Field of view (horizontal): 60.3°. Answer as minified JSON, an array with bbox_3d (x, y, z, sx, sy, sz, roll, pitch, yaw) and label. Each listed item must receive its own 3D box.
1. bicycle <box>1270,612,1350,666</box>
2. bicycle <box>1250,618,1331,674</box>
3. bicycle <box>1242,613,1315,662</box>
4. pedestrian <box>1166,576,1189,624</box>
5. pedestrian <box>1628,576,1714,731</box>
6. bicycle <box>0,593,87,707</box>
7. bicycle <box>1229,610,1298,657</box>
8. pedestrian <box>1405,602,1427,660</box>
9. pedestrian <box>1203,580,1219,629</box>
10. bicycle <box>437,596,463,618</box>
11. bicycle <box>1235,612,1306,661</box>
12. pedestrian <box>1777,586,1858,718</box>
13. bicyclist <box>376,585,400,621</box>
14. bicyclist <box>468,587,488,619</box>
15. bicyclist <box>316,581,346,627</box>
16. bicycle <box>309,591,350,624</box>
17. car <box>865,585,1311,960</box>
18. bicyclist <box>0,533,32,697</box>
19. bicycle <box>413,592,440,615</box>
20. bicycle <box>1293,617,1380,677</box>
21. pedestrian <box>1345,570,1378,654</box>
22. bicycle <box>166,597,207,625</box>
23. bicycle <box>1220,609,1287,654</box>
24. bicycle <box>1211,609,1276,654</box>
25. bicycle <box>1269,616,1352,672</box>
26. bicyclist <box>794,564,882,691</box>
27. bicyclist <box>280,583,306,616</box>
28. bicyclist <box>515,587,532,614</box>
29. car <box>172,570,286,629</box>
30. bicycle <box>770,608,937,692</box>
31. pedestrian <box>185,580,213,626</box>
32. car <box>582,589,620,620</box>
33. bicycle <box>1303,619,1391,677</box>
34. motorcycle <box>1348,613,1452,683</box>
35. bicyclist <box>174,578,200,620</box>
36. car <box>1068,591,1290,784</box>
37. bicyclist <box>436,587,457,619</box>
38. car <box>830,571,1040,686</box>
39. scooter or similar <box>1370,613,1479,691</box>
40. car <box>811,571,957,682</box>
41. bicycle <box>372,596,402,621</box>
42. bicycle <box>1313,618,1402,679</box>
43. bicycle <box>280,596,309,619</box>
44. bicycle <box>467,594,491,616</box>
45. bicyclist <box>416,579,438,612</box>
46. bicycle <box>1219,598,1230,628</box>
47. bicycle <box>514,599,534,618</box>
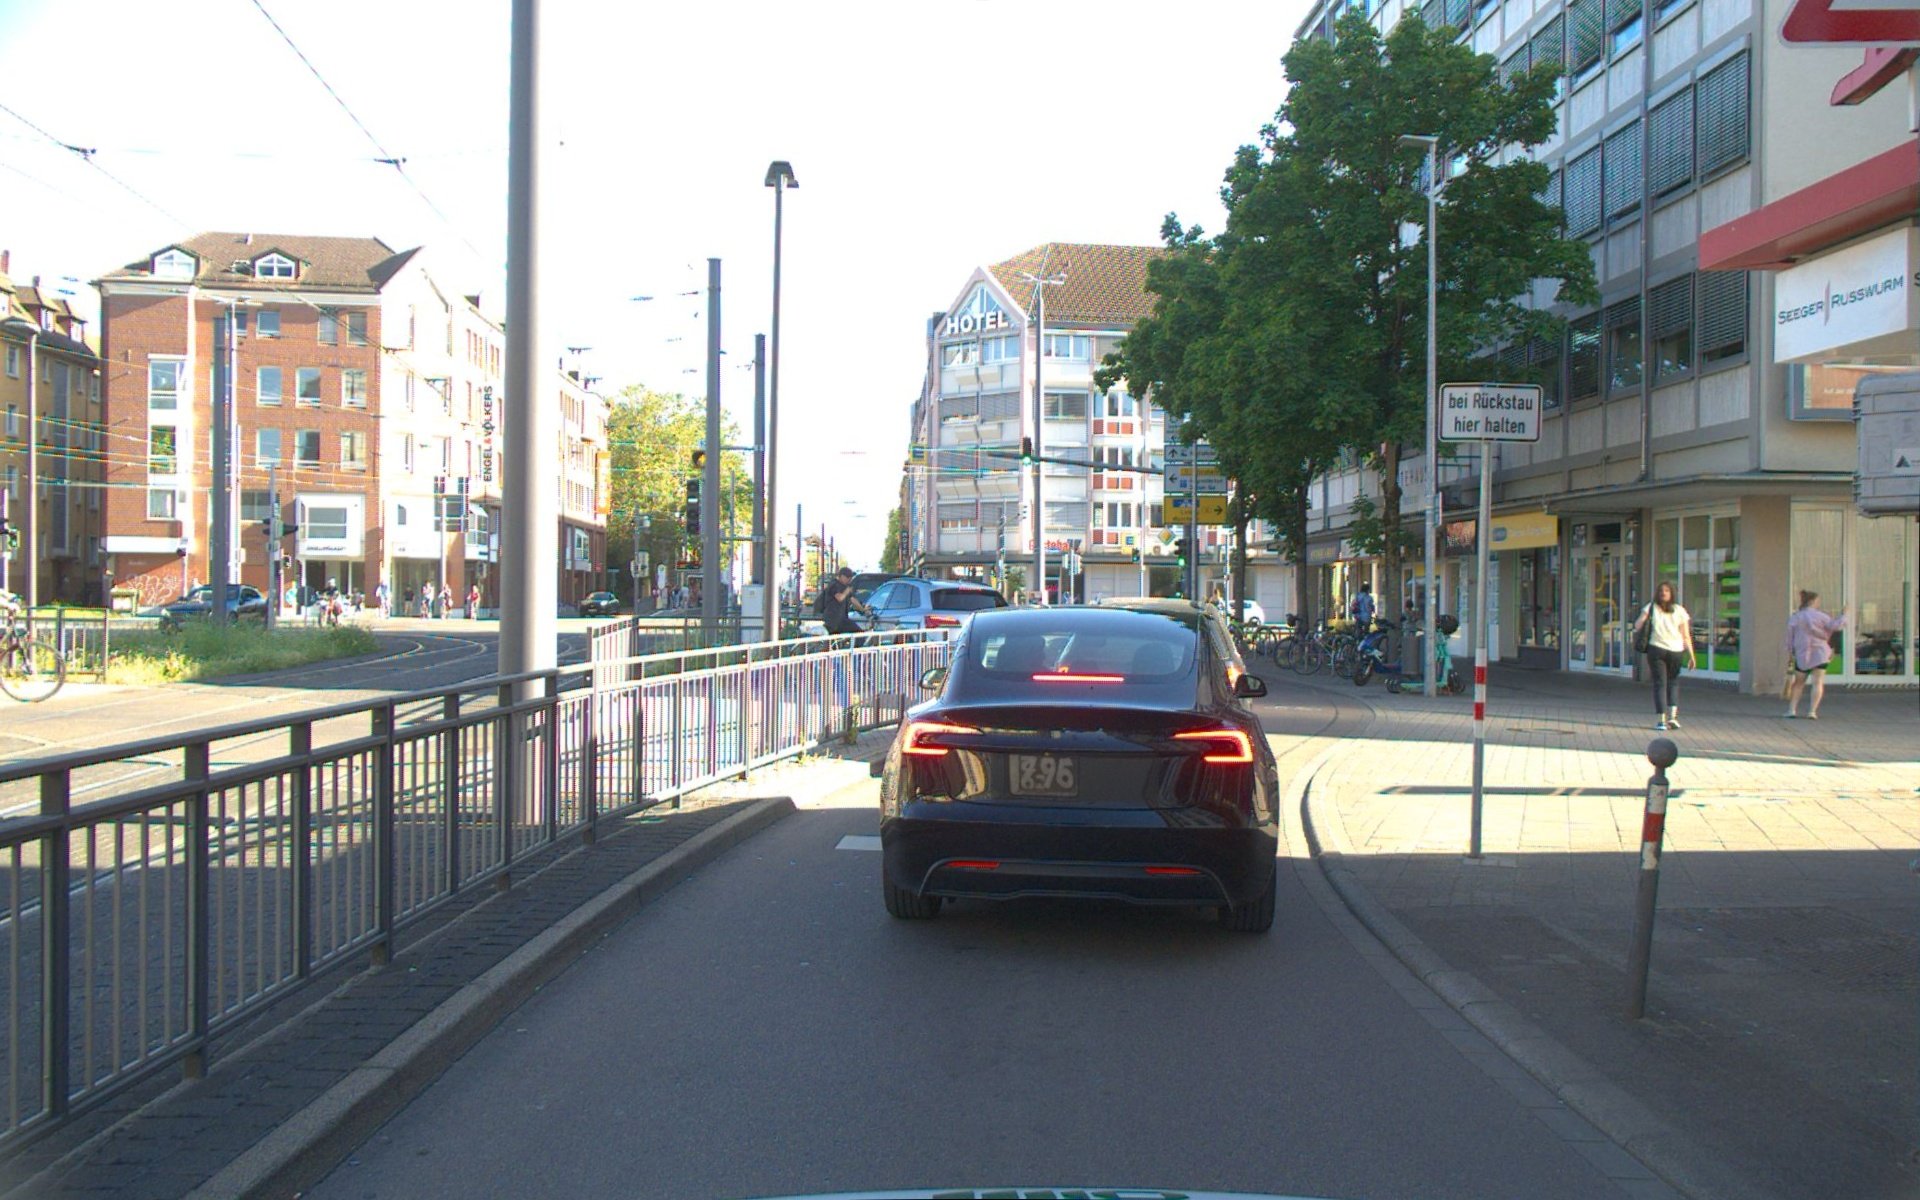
[{"bbox_3d":[7.497,0.835,35.439,1.616,1.118,0.350,1,-1,1],"label":"bicycle"},{"bbox_3d":[6.865,0.957,34.346,1.620,1.118,0.349,1,-1,-11],"label":"bicycle"},{"bbox_3d":[7.380,0.867,38.390,1.616,1.118,0.350,1,-1,1],"label":"bicycle"},{"bbox_3d":[7.810,-0.003,59.456,0.685,1.691,0.777,1,-1,-1],"label":"pedestrian"},{"bbox_3d":[8.494,0.625,19.800,0.895,1.783,1.038,1,-1,22],"label":"pedestrian"},{"bbox_3d":[-10.720,0.545,18.305,0.476,1.244,1.848,1,-1,35],"label":"bicycle"},{"bbox_3d":[7.425,0.821,40.431,1.616,1.118,0.350,1,-1,1],"label":"bicycle"},{"bbox_3d":[10.996,0.746,39.916,0.381,1.367,0.513,1,-1,1],"label":"pedestrian"},{"bbox_3d":[9.059,0.157,59.678,0.515,1.740,0.403,1,-1,5],"label":"pedestrian"},{"bbox_3d":[-25.579,0.352,82.953,0.518,1.107,2.284,1,0,1],"label":"bicycle"},{"bbox_3d":[7.396,0.868,39.417,1.616,1.118,0.350,1,-1,1],"label":"bicycle"},{"bbox_3d":[11.378,0.674,21.969,0.871,1.696,0.808,1,-1,23],"label":"pedestrian"},{"bbox_3d":[-25.673,0.129,74.223,0.767,1.590,0.746,1,-1,1],"label":"bicyclist"},{"bbox_3d":[-24.603,0.149,84.470,0.767,1.590,0.746,0,0,1],"label":"bicyclist"},{"bbox_3d":[-21.706,0.149,57.091,0.769,1.554,0.589,1,-1,4],"label":"bicyclist"},{"bbox_3d":[-21.702,0.251,56.960,0.449,1.112,2.202,1,0,3],"label":"bicycle"},{"bbox_3d":[0.659,0.707,8.729,1.791,1.481,4.002,1,0,4],"label":"car"},{"bbox_3d":[-10.781,0.156,18.179,0.744,1.790,0.750,0,-1,37],"label":"bicyclist"},{"bbox_3d":[-25.755,0.147,79.942,0.518,1.107,2.284,0,0,1],"label":"bicycle"},{"bbox_3d":[7.276,0.911,31.960,1.620,1.118,0.349,1,-1,-11],"label":"bicycle"},{"bbox_3d":[9.916,0.306,40.879,0.648,2.049,0.579,1,-1,1],"label":"pedestrian"},{"bbox_3d":[-28.249,0.389,60.447,0.437,0.988,2.246,1,0,-1],"label":"bicycle"},{"bbox_3d":[7.360,0.778,41.476,1.616,1.118,0.350,0,0,1],"label":"bicycle"},{"bbox_3d":[7.290,0.803,42.569,1.616,1.118,0.350,1,-1,1],"label":"bicycle"},{"bbox_3d":[7.093,0.888,33.484,1.620,1.118,0.349,1,-1,-11],"label":"bicycle"},{"bbox_3d":[-1.636,0.360,22.143,0.753,1.657,0.964,1,-1,-39],"label":"bicyclist"},{"bbox_3d":[-29.686,-0.027,73.625,0.689,1.496,0.973,0,0,7],"label":"bicyclist"},{"bbox_3d":[-25.880,0.053,98.154,0.767,1.590,0.746,1,-1,1],"label":"bicyclist"},{"bbox_3d":[-20.376,-0.012,46.279,1.677,1.553,4.031,1,0,-5],"label":"car"},{"bbox_3d":[-1.418,0.668,22.388,2.313,1.072,0.622,1,-1,-39],"label":"bicycle"},{"bbox_3d":[-31.245,0.125,67.886,0.767,1.852,0.746,1,-1,1],"label":"pedestrian"},{"bbox_3d":[-21.708,0.271,100.053,1.663,1.762,3.704,1,0,-3],"label":"car"},{"bbox_3d":[7.380,0.913,31.537,1.620,1.079,0.349,1,-1,-11],"label":"bicycle"},{"bbox_3d":[7.806,0.841,29.360,1.673,1.194,0.541,1,-1,-3],"label":"motorcycle"},{"bbox_3d":[-28.254,-0.030,60.466,0.620,1.529,0.696,1,-1,-1],"label":"bicyclist"},{"bbox_3d":[1.909,0.677,15.002,1.714,1.480,4.003,1,0,6],"label":"car"},{"bbox_3d":[-25.613,0.132,82.530,0.767,1.590,0.746,0,0,1],"label":"bicyclist"},{"bbox_3d":[-0.487,0.427,26.555,1.859,1.691,4.125,1,0,-25],"label":"car"},{"bbox_3d":[7.660,0.840,27.283,1.610,1.236,0.644,1,-1,30],"label":"scooter or similar"},{"bbox_3d":[-1.568,0.488,32.642,1.962,2.049,3.981,0,0,-17],"label":"car"},{"bbox_3d":[-25.658,0.366,74.062,0.526,1.107,2.225,1,0,1],"label":"bicycle"},{"bbox_3d":[7.476,0.919,31.117,1.620,1.118,0.349,1,-1,-11],"label":"bicycle"},{"bbox_3d":[-29.670,0.335,73.728,0.396,0.998,1.695,1,0,7],"label":"bicycle"},{"bbox_3d":[-24.662,0.262,84.817,0.518,1.107,2.225,0,0,1],"label":"bicycle"},{"bbox_3d":[-25.755,-0.228,79.946,0.767,1.590,0.746,1,-1,2],"label":"bicyclist"},{"bbox_3d":[9.463,0.459,59.225,0.325,1.052,1.257,1,0,8],"label":"bicycle"},{"bbox_3d":[-25.868,0.489,98.125,0.518,1.107,2.225,1,0,1],"label":"bicycle"}]
